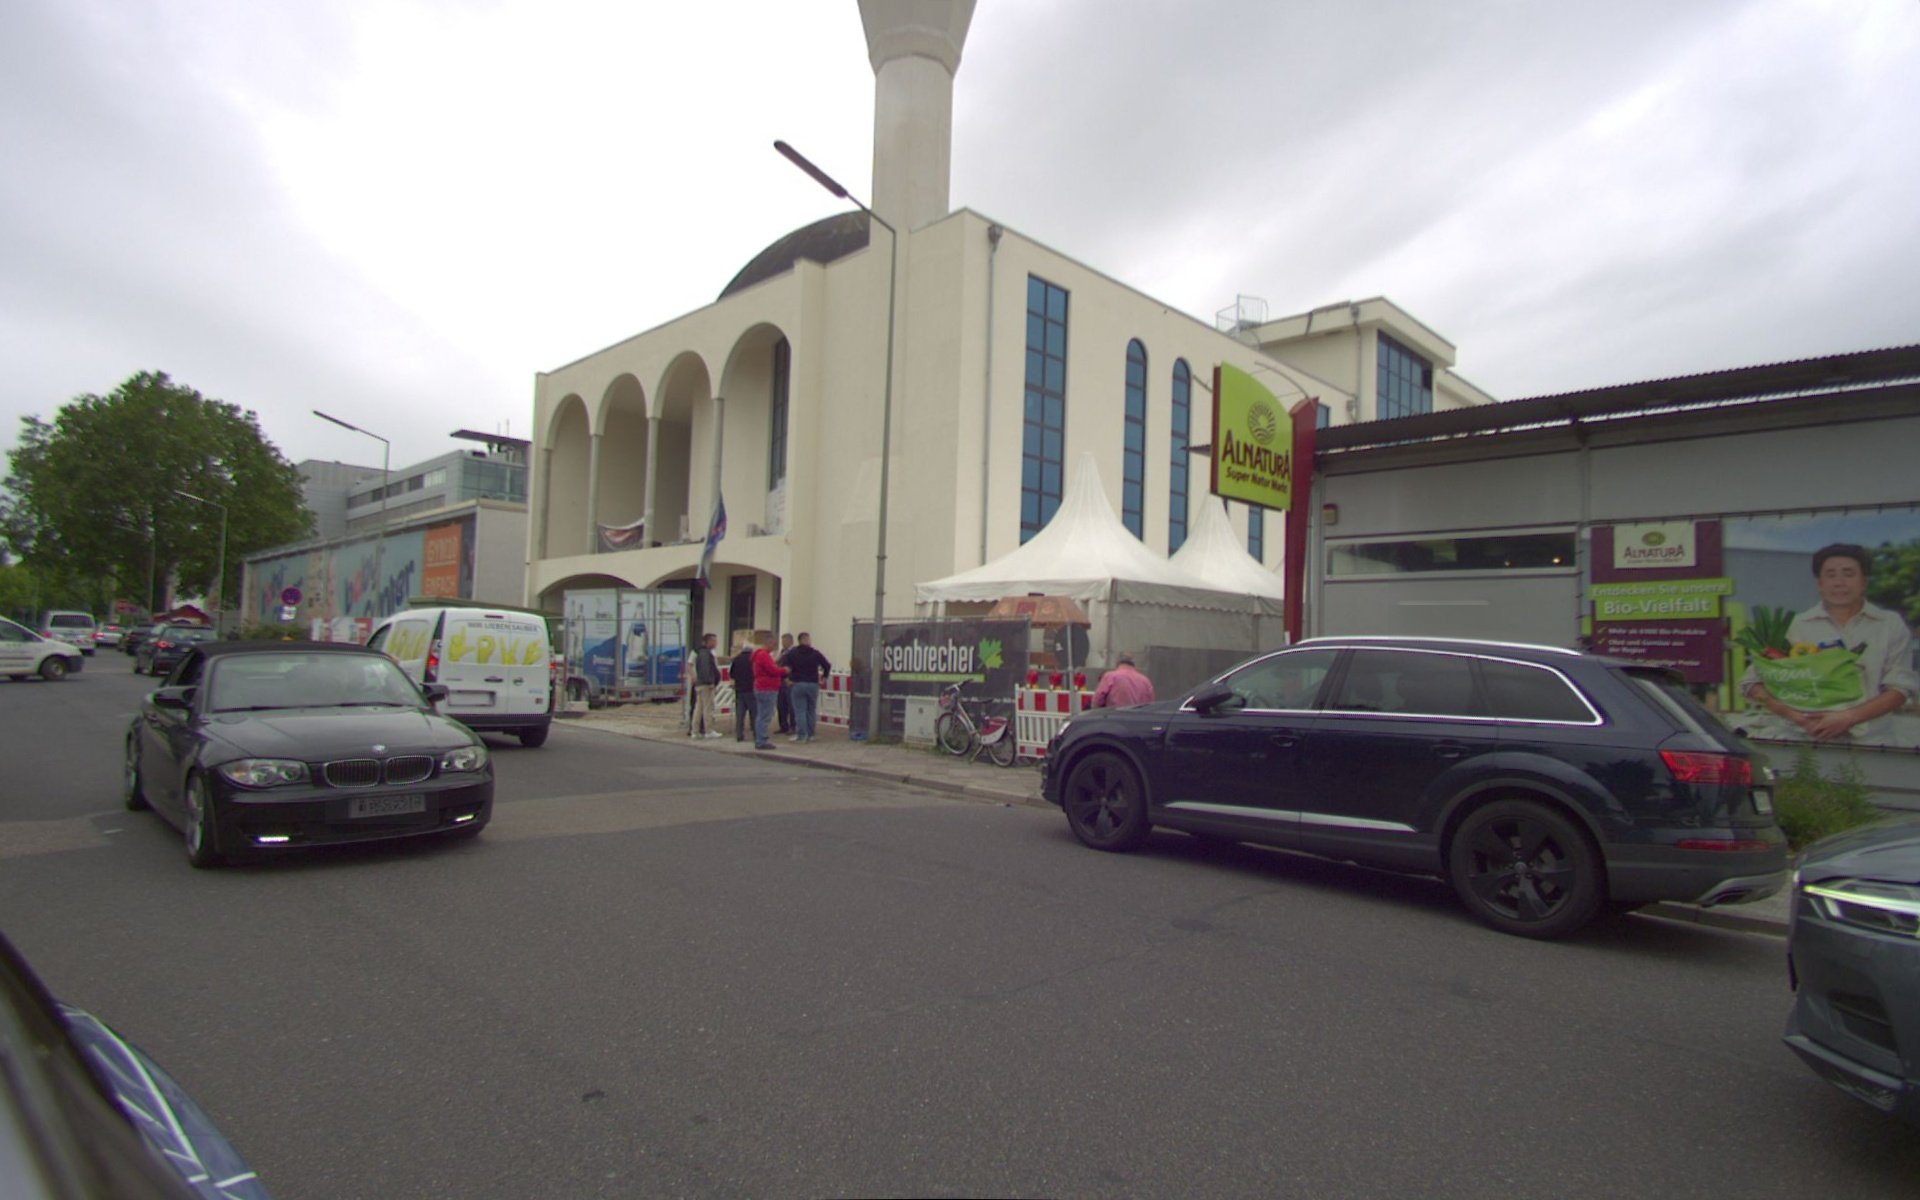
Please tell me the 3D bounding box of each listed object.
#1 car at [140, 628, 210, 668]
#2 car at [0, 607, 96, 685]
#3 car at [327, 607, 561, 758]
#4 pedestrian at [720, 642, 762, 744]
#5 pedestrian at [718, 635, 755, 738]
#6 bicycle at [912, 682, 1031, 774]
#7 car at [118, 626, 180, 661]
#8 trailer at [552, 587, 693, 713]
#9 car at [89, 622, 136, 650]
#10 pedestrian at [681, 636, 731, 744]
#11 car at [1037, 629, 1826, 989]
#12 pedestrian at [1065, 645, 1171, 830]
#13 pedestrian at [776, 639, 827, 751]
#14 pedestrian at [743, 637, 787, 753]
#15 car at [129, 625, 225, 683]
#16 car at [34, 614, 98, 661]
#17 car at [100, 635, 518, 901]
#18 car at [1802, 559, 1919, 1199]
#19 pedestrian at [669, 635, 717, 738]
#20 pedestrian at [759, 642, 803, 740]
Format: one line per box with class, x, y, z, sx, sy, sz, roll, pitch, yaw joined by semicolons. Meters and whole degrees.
car;-35.350;2.136;45.553;1.902;1.586;4.152;9;-7;-43
car;-23.920;1.029;24.326;1.789;1.821;4.348;1;-5;23
car;-7.248;1.063;14.028;1.670;1.774;4.138;5;-5;-44
pedestrian;-3.573;1.509;16.568;0.563;1.624;0.491;2;-3;-6
pedestrian;-3.907;1.509;17.699;0.520;1.763;0.491;2;-3;-6
bicycle;0.126;1.725;13.973;0.537;1.086;1.905;4;-3;-39
car;-41.146;2.179;51.318;1.902;1.586;4.152;9;-7;-43
trailer;-7.645;1.129;22.810;1.776;2.627;3.195;5;-5;-42
car;-54.226;2.304;64.726;1.902;1.586;4.152;9;-7;-43
pedestrian;-4.266;1.509;17.032;0.681;1.763;0.491;2;-3;-6
car;2.970;1.153;7.230;1.844;1.704;4.732;9;-8;-43
pedestrian;1.484;1.280;9.553;0.664;1.634;0.655;7;-6;-19
pedestrian;-2.541;1.512;16.253;0.686;1.731;0.687;-2;-3;-1
pedestrian;-2.949;1.424;15.321;0.507;1.705;0.532;-2;-3;2
car;-23.484;1.599;30.311;1.709;1.584;3.949;7;-6;-44
car;-41.344;1.700;46.769;1.904;2.029;4.959;5;-4;-44
car;-5.058;0.995;7.605;4.139;1.369;1.726;0;-2;44
car;4.507;0.781;1.758;1.910;1.697;4.498;6;-5;-44
pedestrian;-4.693;1.522;17.821;0.681;1.763;0.491;2;-3;-6
pedestrian;-3.069;1.547;17.365;0.532;1.624;0.491;2;-2;-40
